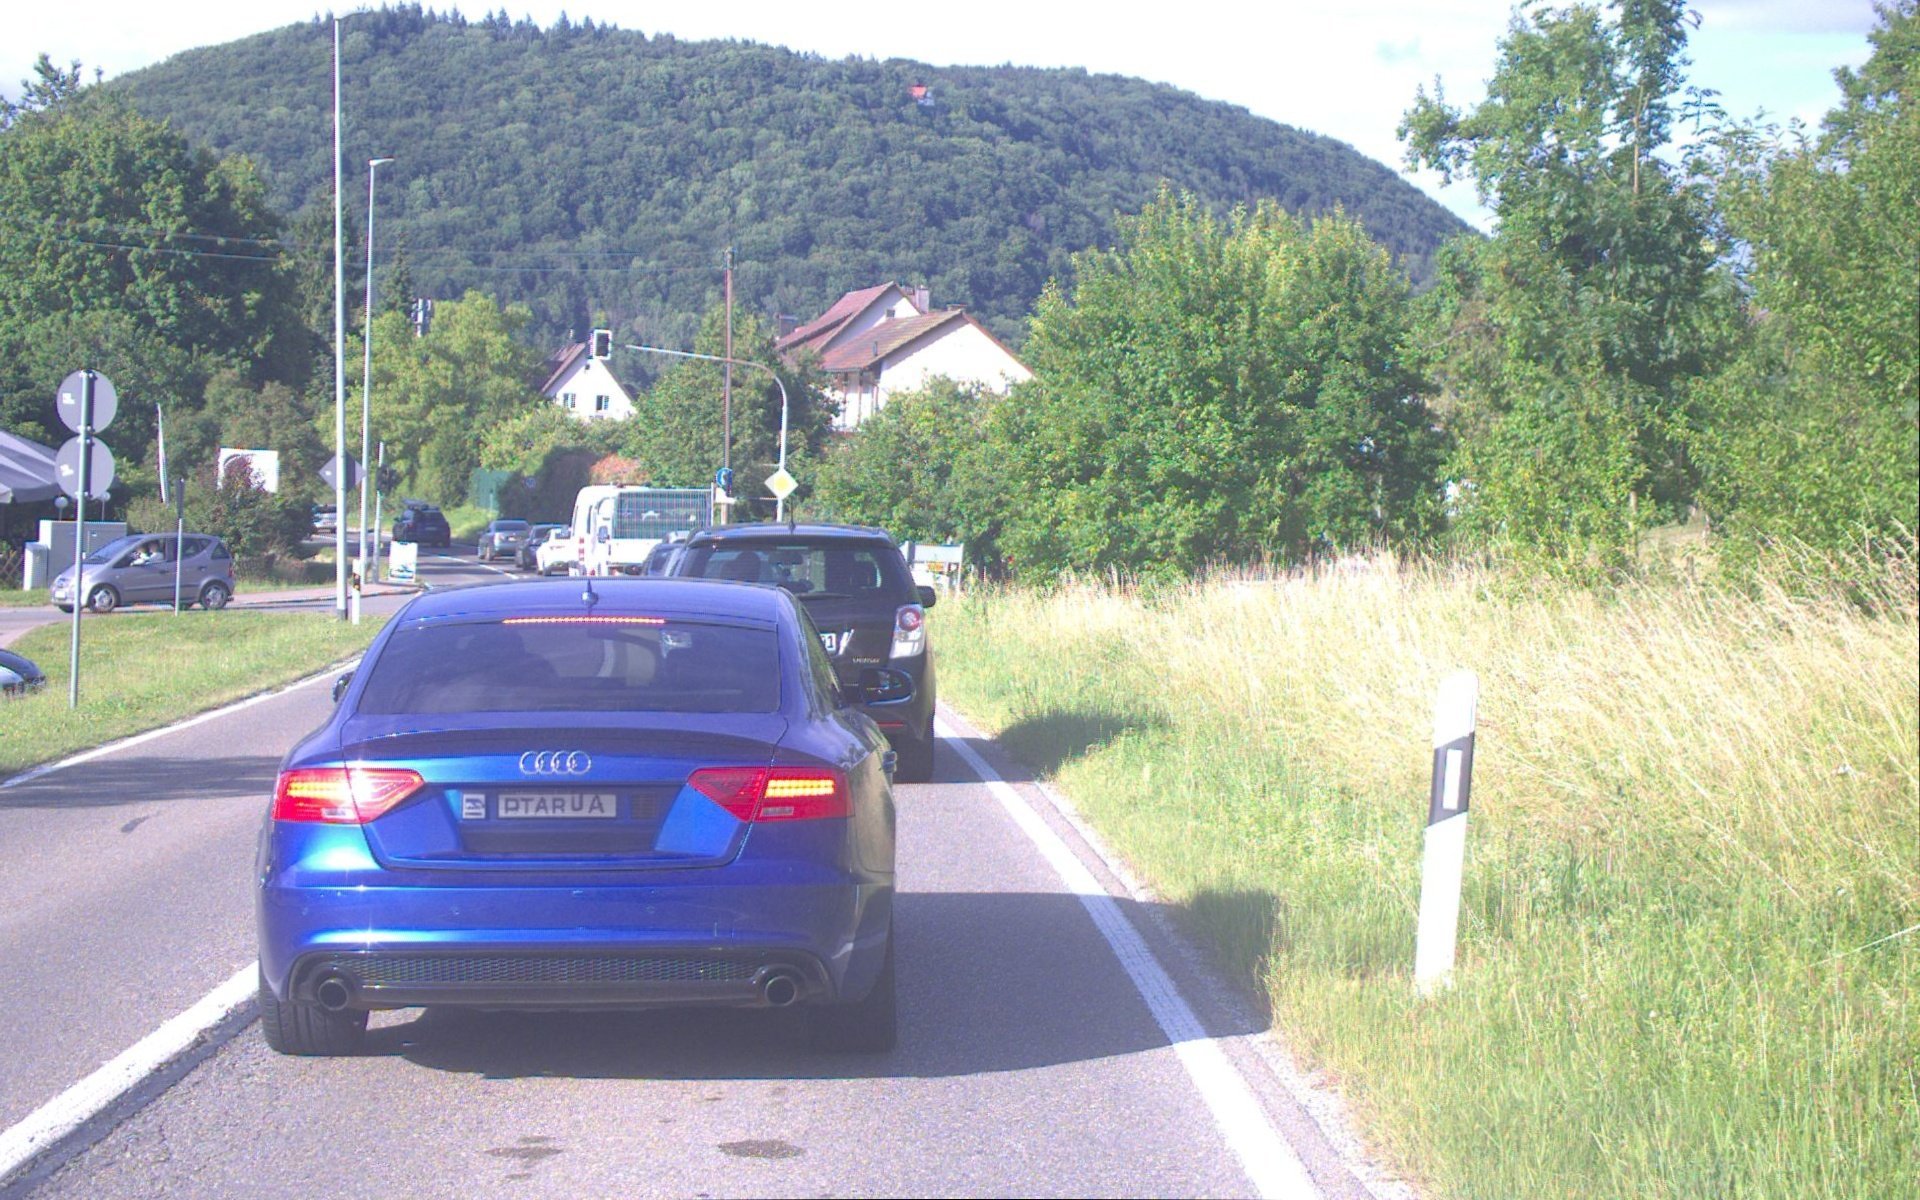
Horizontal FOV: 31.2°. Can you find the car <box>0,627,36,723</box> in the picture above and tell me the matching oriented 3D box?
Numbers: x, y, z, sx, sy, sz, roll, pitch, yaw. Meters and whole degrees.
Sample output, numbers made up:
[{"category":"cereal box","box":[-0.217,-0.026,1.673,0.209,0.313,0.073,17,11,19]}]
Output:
[{"category":"car","box":[-15.293,1.021,48.523,3.987,1.306,1.760,1,0,5]}]

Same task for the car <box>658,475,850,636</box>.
[{"category":"car","box":[-2.200,-0.474,37.745,1.804,1.634,4.463,1,0,0]}]

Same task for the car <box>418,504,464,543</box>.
[{"category":"car","box":[-21.870,-3.200,144.824,1.625,1.571,3.680,1,0,-13]}]

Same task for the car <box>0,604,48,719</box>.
[{"category":"car","box":[-14.871,0.778,45.971,4.815,1.488,1.880,1,0,9]}]

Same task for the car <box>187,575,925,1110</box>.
[{"category":"car","box":[-1.068,0.612,10.899,1.795,1.383,4.000,0,0,1]}]

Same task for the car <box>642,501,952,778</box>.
[{"category":"car","box":[-0.981,0.219,22.575,1.746,1.634,4.000,1,0,1]}]

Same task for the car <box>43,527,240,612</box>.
[{"category":"car","box":[-16.539,-0.614,69.514,3.460,1.656,1.740,1,0,-37]}]

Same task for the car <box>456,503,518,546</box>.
[{"category":"car","box":[-16.846,-2.681,122.380,1.697,1.485,3.528,1,0,-16]}]

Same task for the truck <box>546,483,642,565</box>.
[{"category":"truck","box":[-9.142,-1.858,85.467,1.697,1.947,5.924,1,0,-12]}]

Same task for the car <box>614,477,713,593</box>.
[{"category":"car","box":[-5.824,-1.250,67.260,1.746,2.188,4.001,1,0,-7]}]

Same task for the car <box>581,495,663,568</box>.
[{"category":"car","box":[-7.910,-1.577,80.230,1.746,1.634,4.001,1,0,-7]}]
